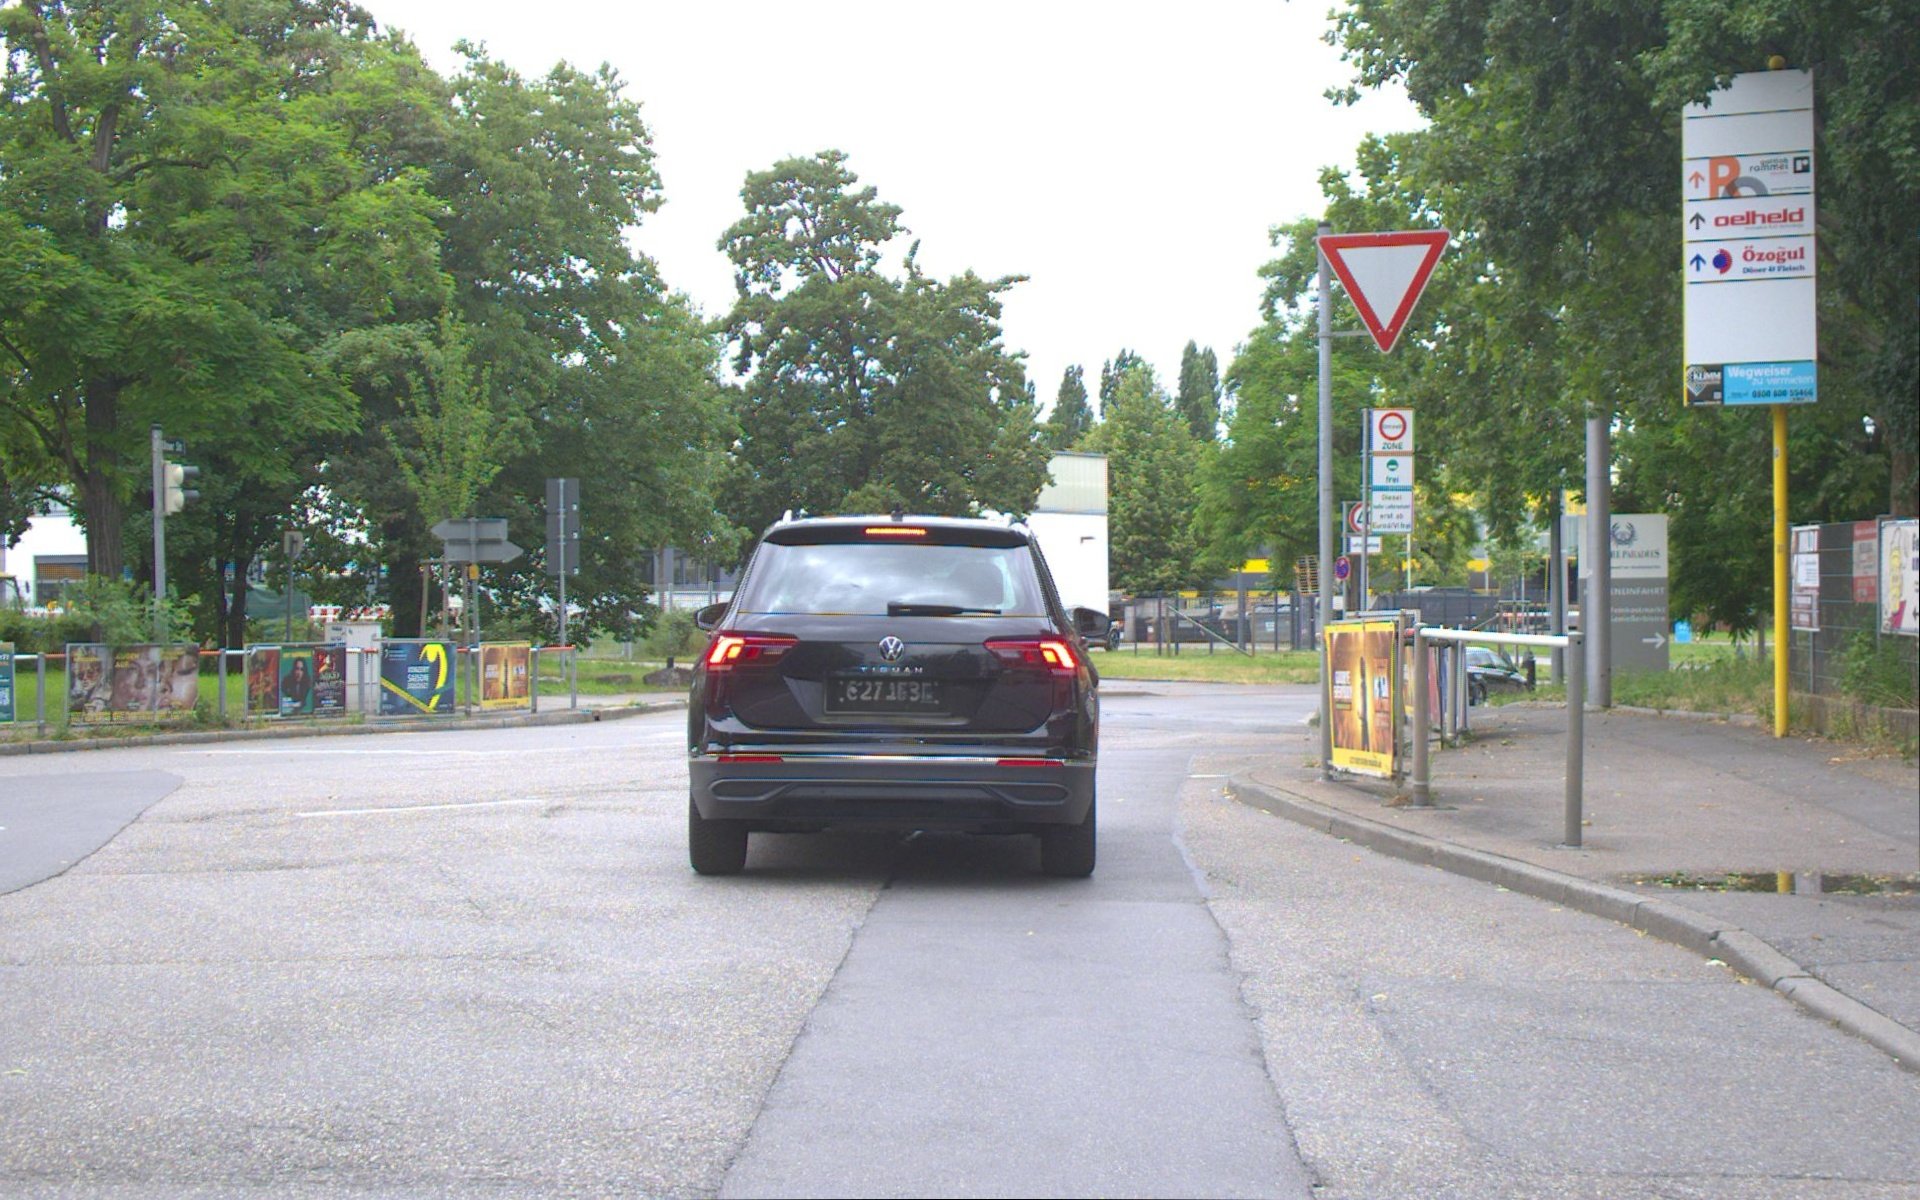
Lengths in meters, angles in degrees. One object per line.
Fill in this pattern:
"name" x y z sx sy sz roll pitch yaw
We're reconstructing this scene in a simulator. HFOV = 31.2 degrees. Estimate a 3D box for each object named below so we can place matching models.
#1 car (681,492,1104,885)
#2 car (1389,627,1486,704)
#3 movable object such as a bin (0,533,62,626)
"car" -0.324 0.360 16.165 1.739 1.612 3.641 1 0 -1
"car" 10.624 1.432 76.330 1.660 1.569 3.826 -1 0 15
"movable object such as a bin" -21.272 -0.460 75.324 1.996 2.007 2.396 0 1 24
